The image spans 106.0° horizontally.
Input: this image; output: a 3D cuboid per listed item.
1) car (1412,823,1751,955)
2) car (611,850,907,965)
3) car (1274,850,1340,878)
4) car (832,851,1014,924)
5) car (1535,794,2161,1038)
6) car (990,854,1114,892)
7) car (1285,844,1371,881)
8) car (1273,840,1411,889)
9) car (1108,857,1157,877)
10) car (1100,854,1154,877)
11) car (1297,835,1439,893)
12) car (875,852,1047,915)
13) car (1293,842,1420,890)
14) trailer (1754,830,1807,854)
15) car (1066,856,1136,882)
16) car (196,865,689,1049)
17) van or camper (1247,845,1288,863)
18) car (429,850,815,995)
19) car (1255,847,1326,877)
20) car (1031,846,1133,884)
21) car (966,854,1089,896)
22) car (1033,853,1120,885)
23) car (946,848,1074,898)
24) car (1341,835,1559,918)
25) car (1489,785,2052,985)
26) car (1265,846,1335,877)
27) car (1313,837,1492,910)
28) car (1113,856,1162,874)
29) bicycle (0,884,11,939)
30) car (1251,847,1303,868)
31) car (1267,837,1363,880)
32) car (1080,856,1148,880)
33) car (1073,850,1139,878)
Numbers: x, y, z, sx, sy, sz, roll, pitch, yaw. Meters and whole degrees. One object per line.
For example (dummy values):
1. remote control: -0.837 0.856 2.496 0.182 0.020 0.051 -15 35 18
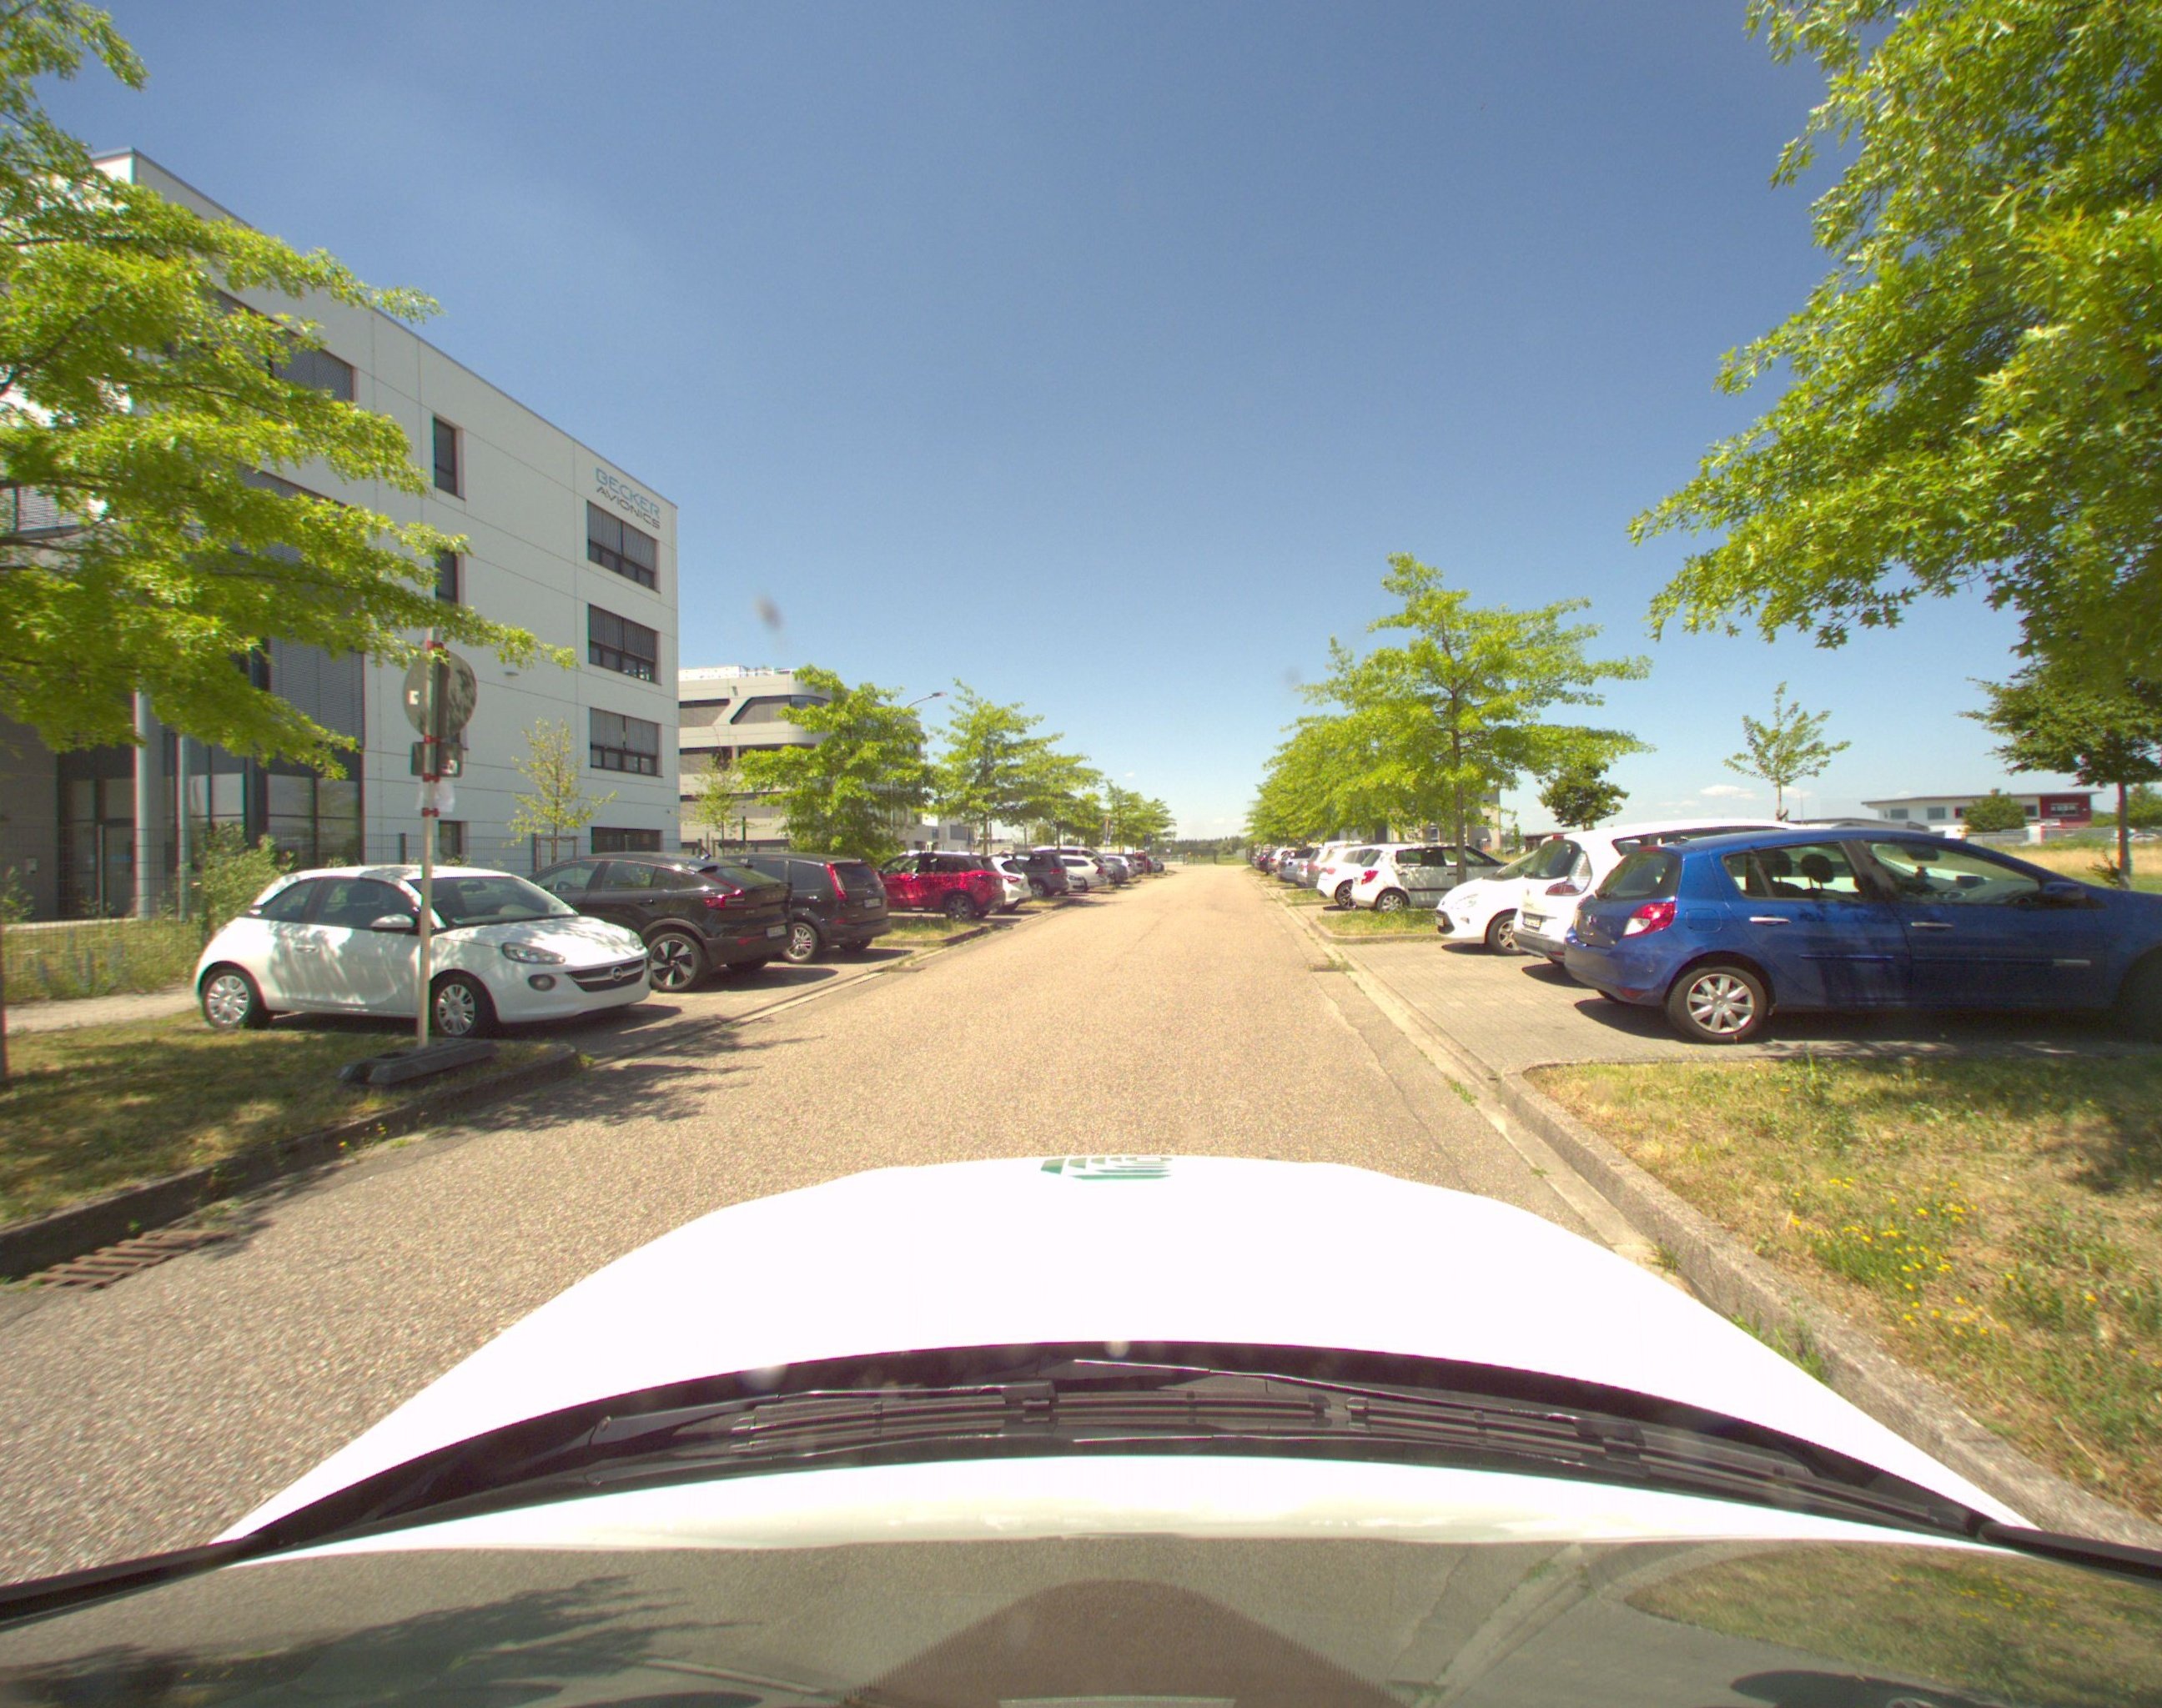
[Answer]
1. car: 6.723 0.459 11.260 3.600 1.463 1.613 -4 0 5
2. car: -4.882 0.751 12.603 3.883 1.592 1.732 0 0 9
3. car: 12.939 0.583 46.803 3.437 1.417 1.759 -3 -1 9
4. car: -3.640 0.736 19.123 3.818 1.592 1.731 0 0 7
5. car: 5.998 0.440 6.287 3.967 1.490 1.734 -4 0 13
6. car: -1.103 0.736 32.623 4.688 1.447 1.861 0 0 6
7. car: 11.436 0.380 37.953 3.608 1.503 1.681 -3 -1 10
8. car: 9.936 0.402 31.294 4.692 1.561 1.917 -3 -1 6
9. car: 3.930 0.981 62.032 3.638 1.508 1.734 0 0 6
10. car: 3.387 0.836 59.465 3.714 1.621 1.822 0 0 10
11. car: 9.164 0.327 26.284 4.021 1.625 1.698 -3 -1 10
12. car: -3.146 0.748 21.766 4.145 1.513 1.813 1 1 11
13. car: 9.651 0.412 28.798 4.021 1.453 1.650 -3 -1 10
14. trailer: 79.929 -1.325 93.097 3.964 2.600 2.238 -2 0 8
15. car: 1.215 0.856 48.209 4.016 1.461 1.607 1 0 7
16. car: -5.881 0.851 7.730 3.484 1.441 1.732 0 0 9
17. van or camper: 23.984 0.010 104.883 4.907 2.163 2.005 -1 0 9
18. car: -5.587 0.759 10.212 3.818 1.593 1.833 0 0 6
19. car: 13.271 0.501 51.761 4.149 1.696 1.786 -3 -1 8
20. car: 0.087 0.566 42.333 5.037 1.892 2.003 0 0 11
21. car: -1.946 0.765 30.266 4.287 1.473 1.731 0 0 7
22. car: -0.186 0.705 39.410 3.944 1.484 1.769 1 0 10
23. car: -2.408 0.641 28.181 4.093 1.634 1.732 0 0 8
24. car: 7.611 0.458 17.127 3.811 1.524 1.784 -2 -1 9
25. car: 6.764 0.339 8.552 4.080 1.650 1.781 -4 0 14
26. car: 13.151 0.443 49.030 3.851 1.678 1.787 -3 -1 10
27. car: 7.585 0.452 19.592 3.806 1.553 1.787 -2 0 15
28. car: 4.810 0.914 68.905 4.055 1.424 1.877 1 0 6
29. bicycle: -20.228 1.058 14.646 1.583 0.982 0.463 -1 0 7
30. car: 17.360 0.348 72.252 4.253 1.644 1.856 -3 -1 9
31. car: 11.551 0.240 40.440 4.375 1.830 1.801 -3 -1 10
32. car: 2.185 0.885 53.288 4.167 1.480 1.717 1 0 10
33. car: 1.609 0.617 50.964 3.968 1.678 1.779 1 0 4
